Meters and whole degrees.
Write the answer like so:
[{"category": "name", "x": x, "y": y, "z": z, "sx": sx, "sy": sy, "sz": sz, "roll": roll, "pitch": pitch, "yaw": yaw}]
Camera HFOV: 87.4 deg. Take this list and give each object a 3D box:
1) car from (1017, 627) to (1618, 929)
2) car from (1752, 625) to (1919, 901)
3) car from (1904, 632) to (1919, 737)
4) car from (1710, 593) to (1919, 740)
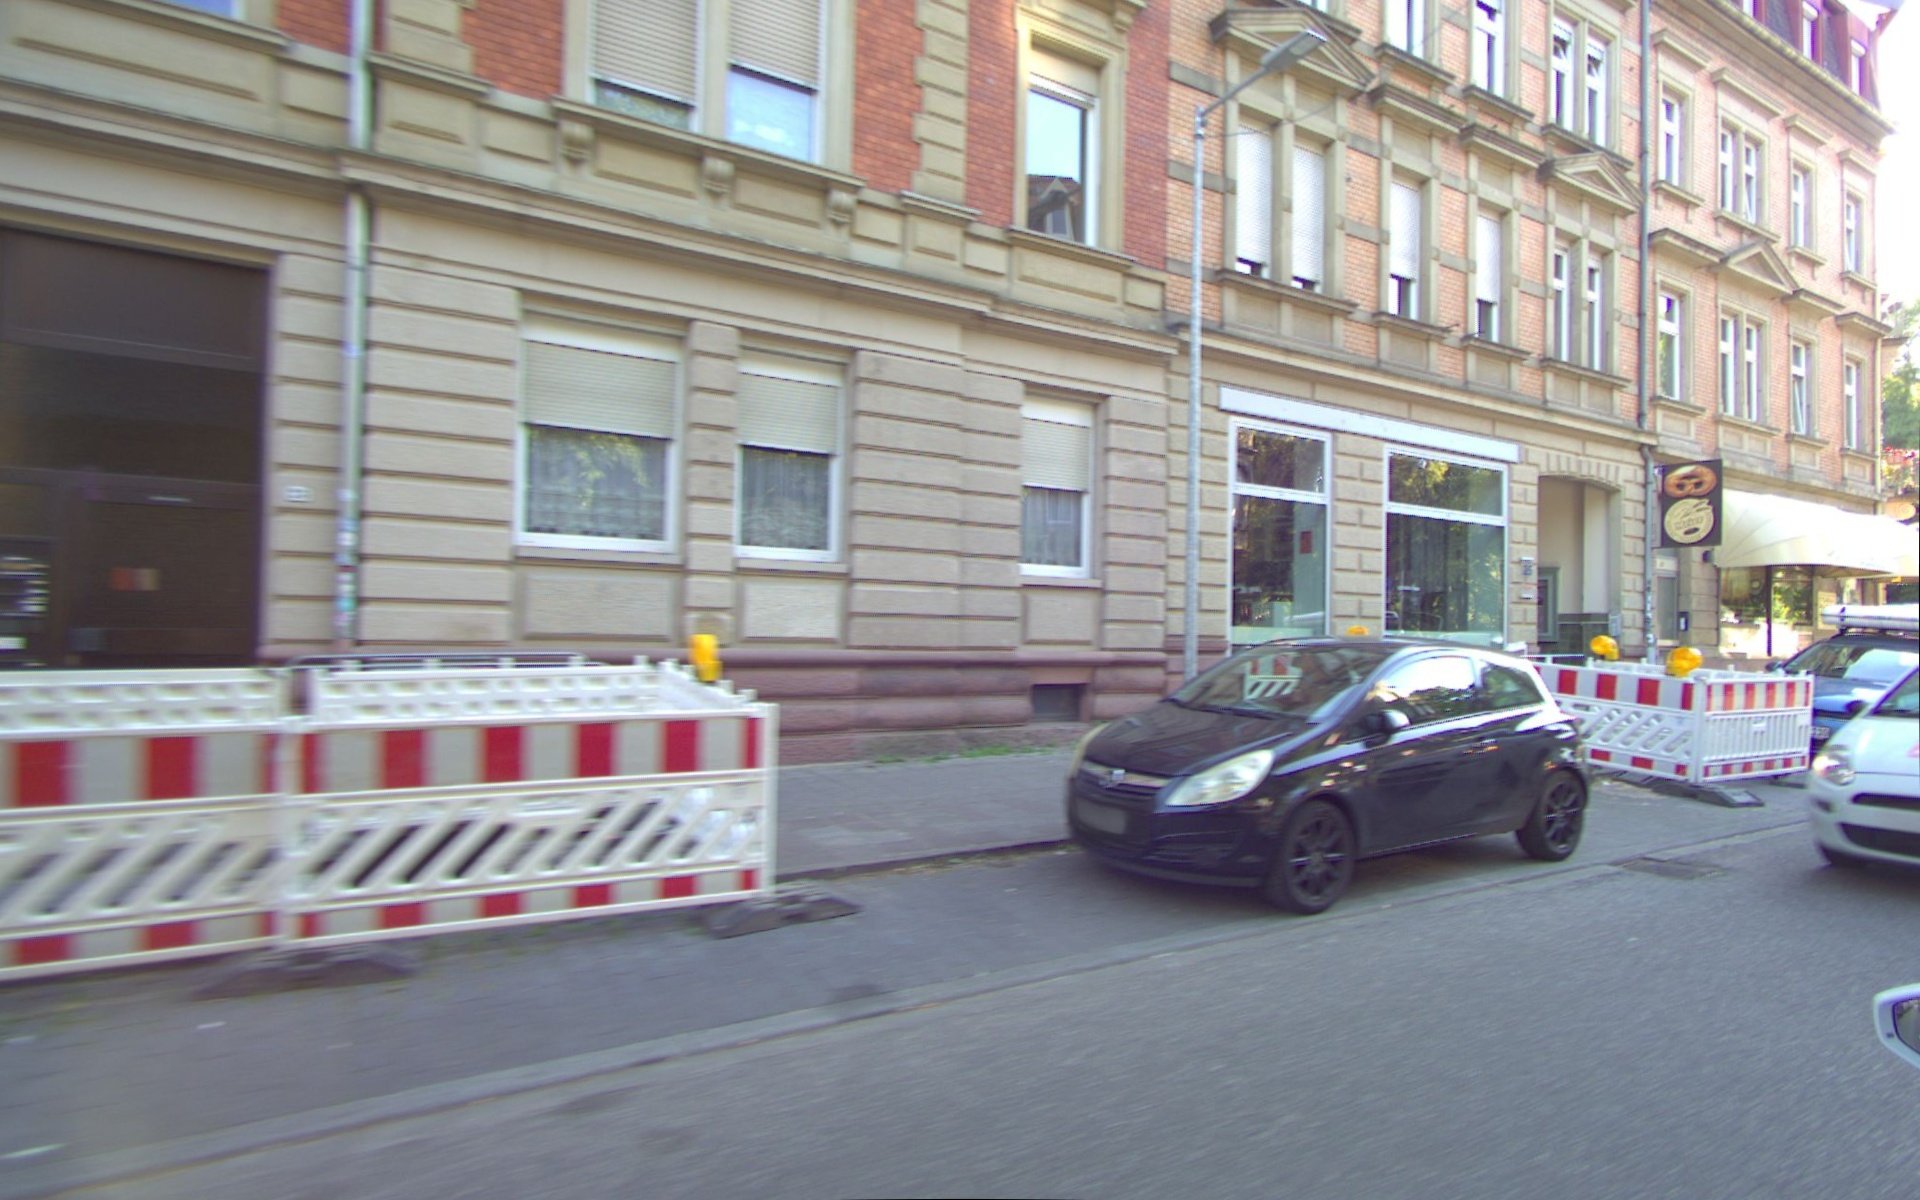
[{"category": "car", "x": 2.488, "y": 0.930, "z": 6.716, "sx": 3.975, "sy": 1.473, "sz": 1.695, "roll": 1, "pitch": -2, "yaw": -32}, {"category": "car", "x": 7.081, "y": 0.944, "z": 6.527, "sx": 3.953, "sy": 1.529, "sz": 1.741, "roll": 1, "pitch": -2, "yaw": -31}, {"category": "car", "x": 15.492, "y": 1.232, "z": 14.434, "sx": 3.948, "sy": 1.456, "sz": 1.717, "roll": 1, "pitch": 0, "yaw": -30}, {"category": "car", "x": 10.815, "y": 0.712, "z": 11.845, "sx": 4.252, "sy": 1.456, "sz": 1.755, "roll": 1, "pitch": -1, "yaw": -32}]
